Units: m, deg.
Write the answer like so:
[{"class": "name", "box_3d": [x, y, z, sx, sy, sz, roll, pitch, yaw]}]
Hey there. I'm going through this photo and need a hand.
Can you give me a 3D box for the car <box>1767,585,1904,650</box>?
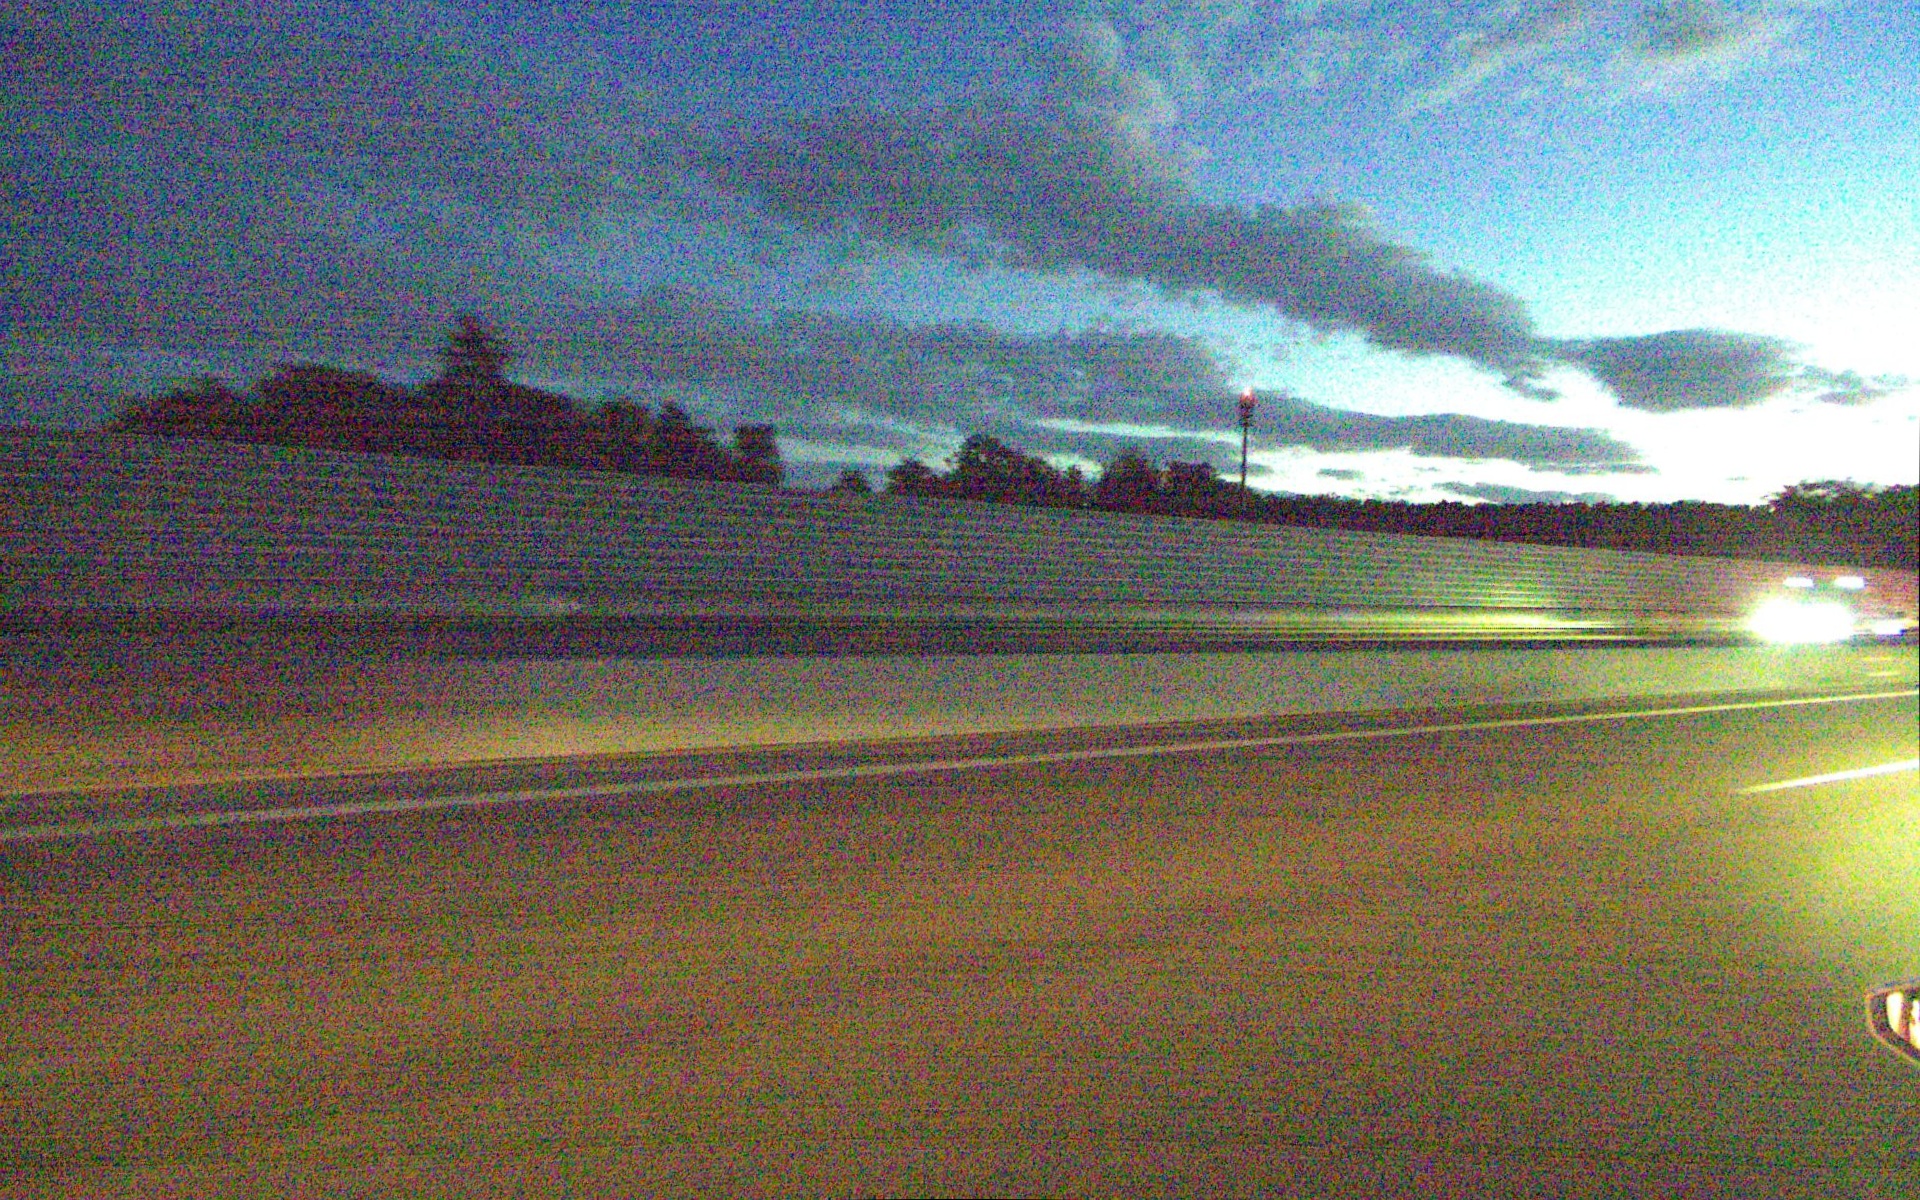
[{"class": "car", "box_3d": [44.315, 0.841, 50.779, 8.114, 3.127, 2.640, 0, 1, -29]}]
